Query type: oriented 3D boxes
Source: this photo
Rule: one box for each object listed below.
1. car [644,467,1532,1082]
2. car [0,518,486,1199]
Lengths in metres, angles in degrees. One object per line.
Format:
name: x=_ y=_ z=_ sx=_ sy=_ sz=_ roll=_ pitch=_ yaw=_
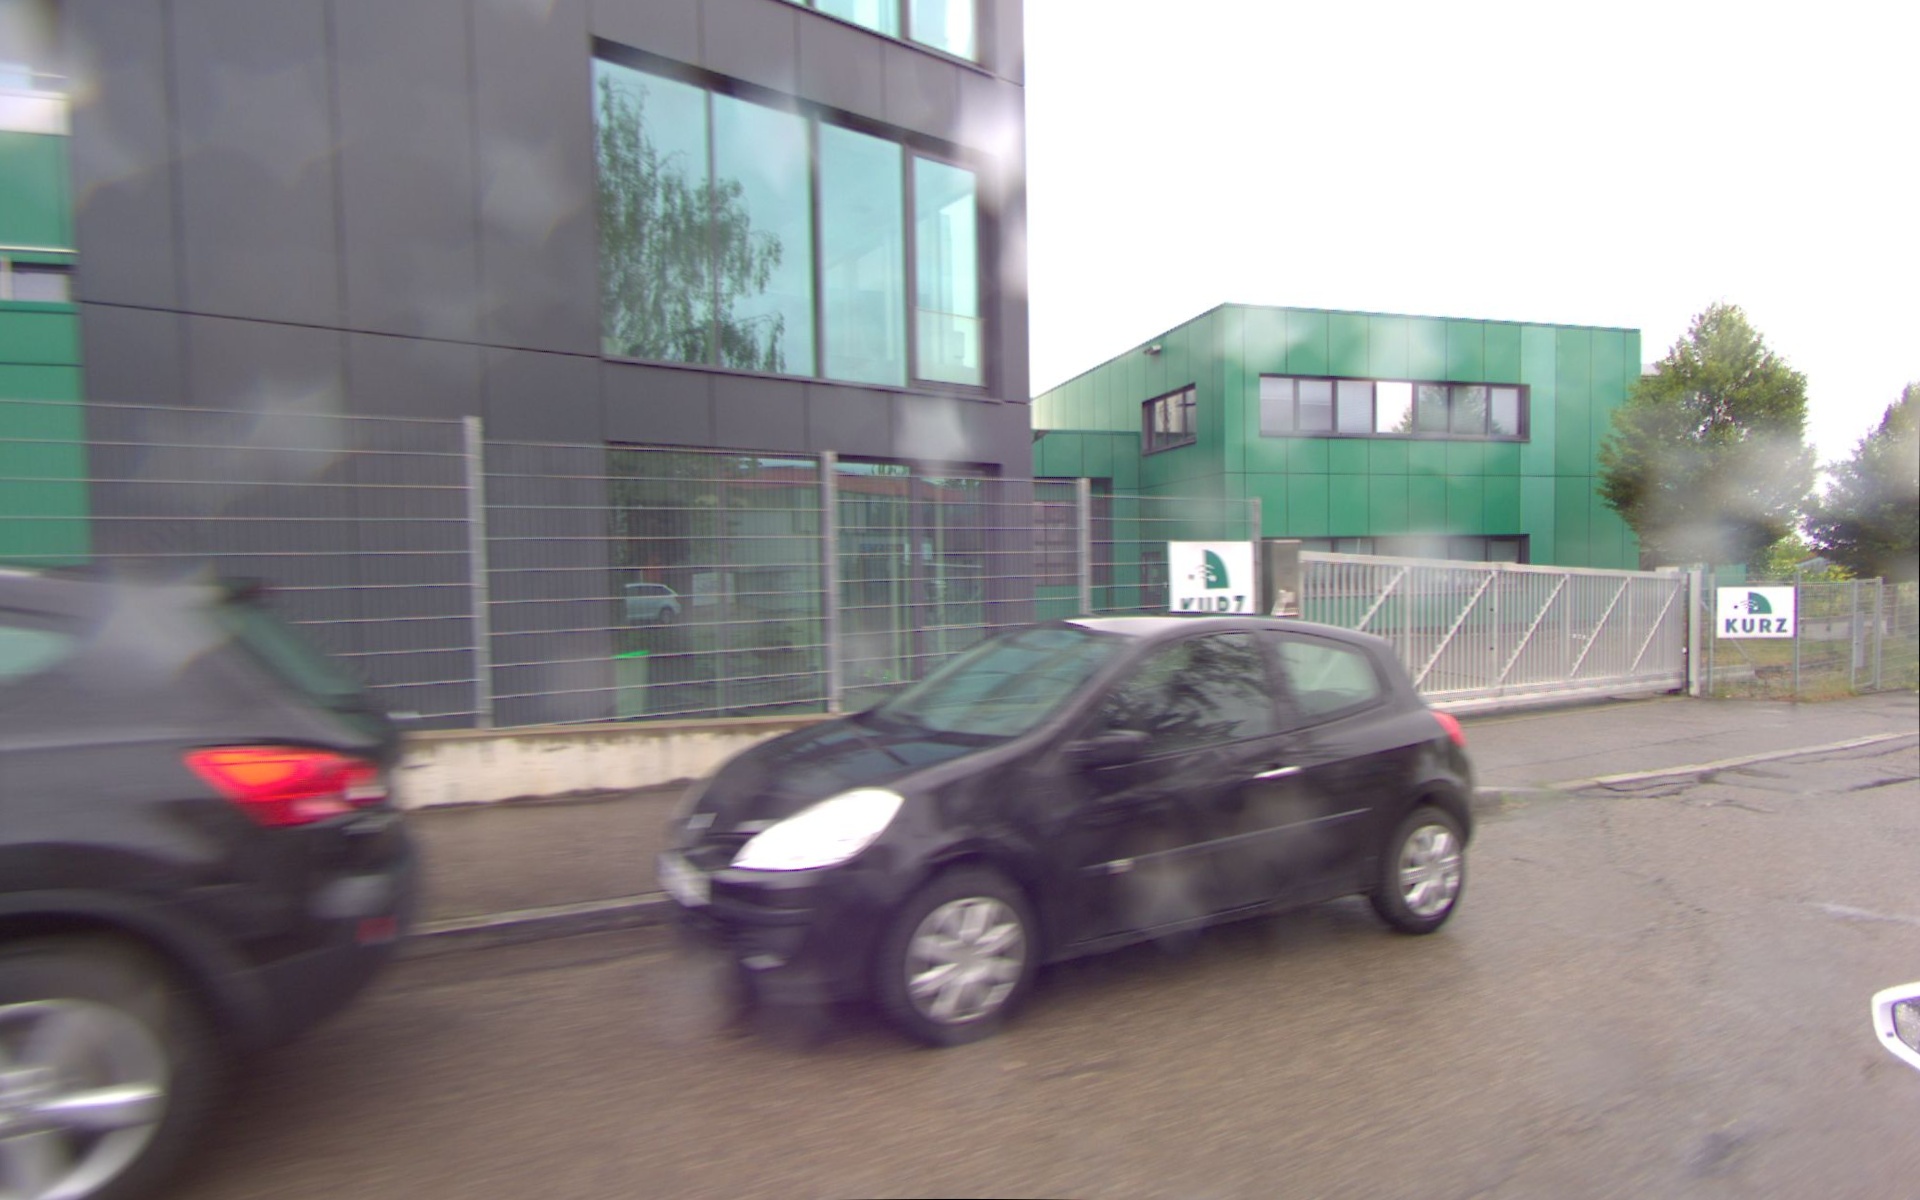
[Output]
car: x=0.716 y=0.553 z=4.732 sx=3.913 sy=1.821 sz=1.731 roll=1 pitch=0 yaw=-31
car: x=-3.397 y=0.605 z=2.367 sx=4.034 sy=1.578 sz=1.625 roll=1 pitch=-1 yaw=-29
